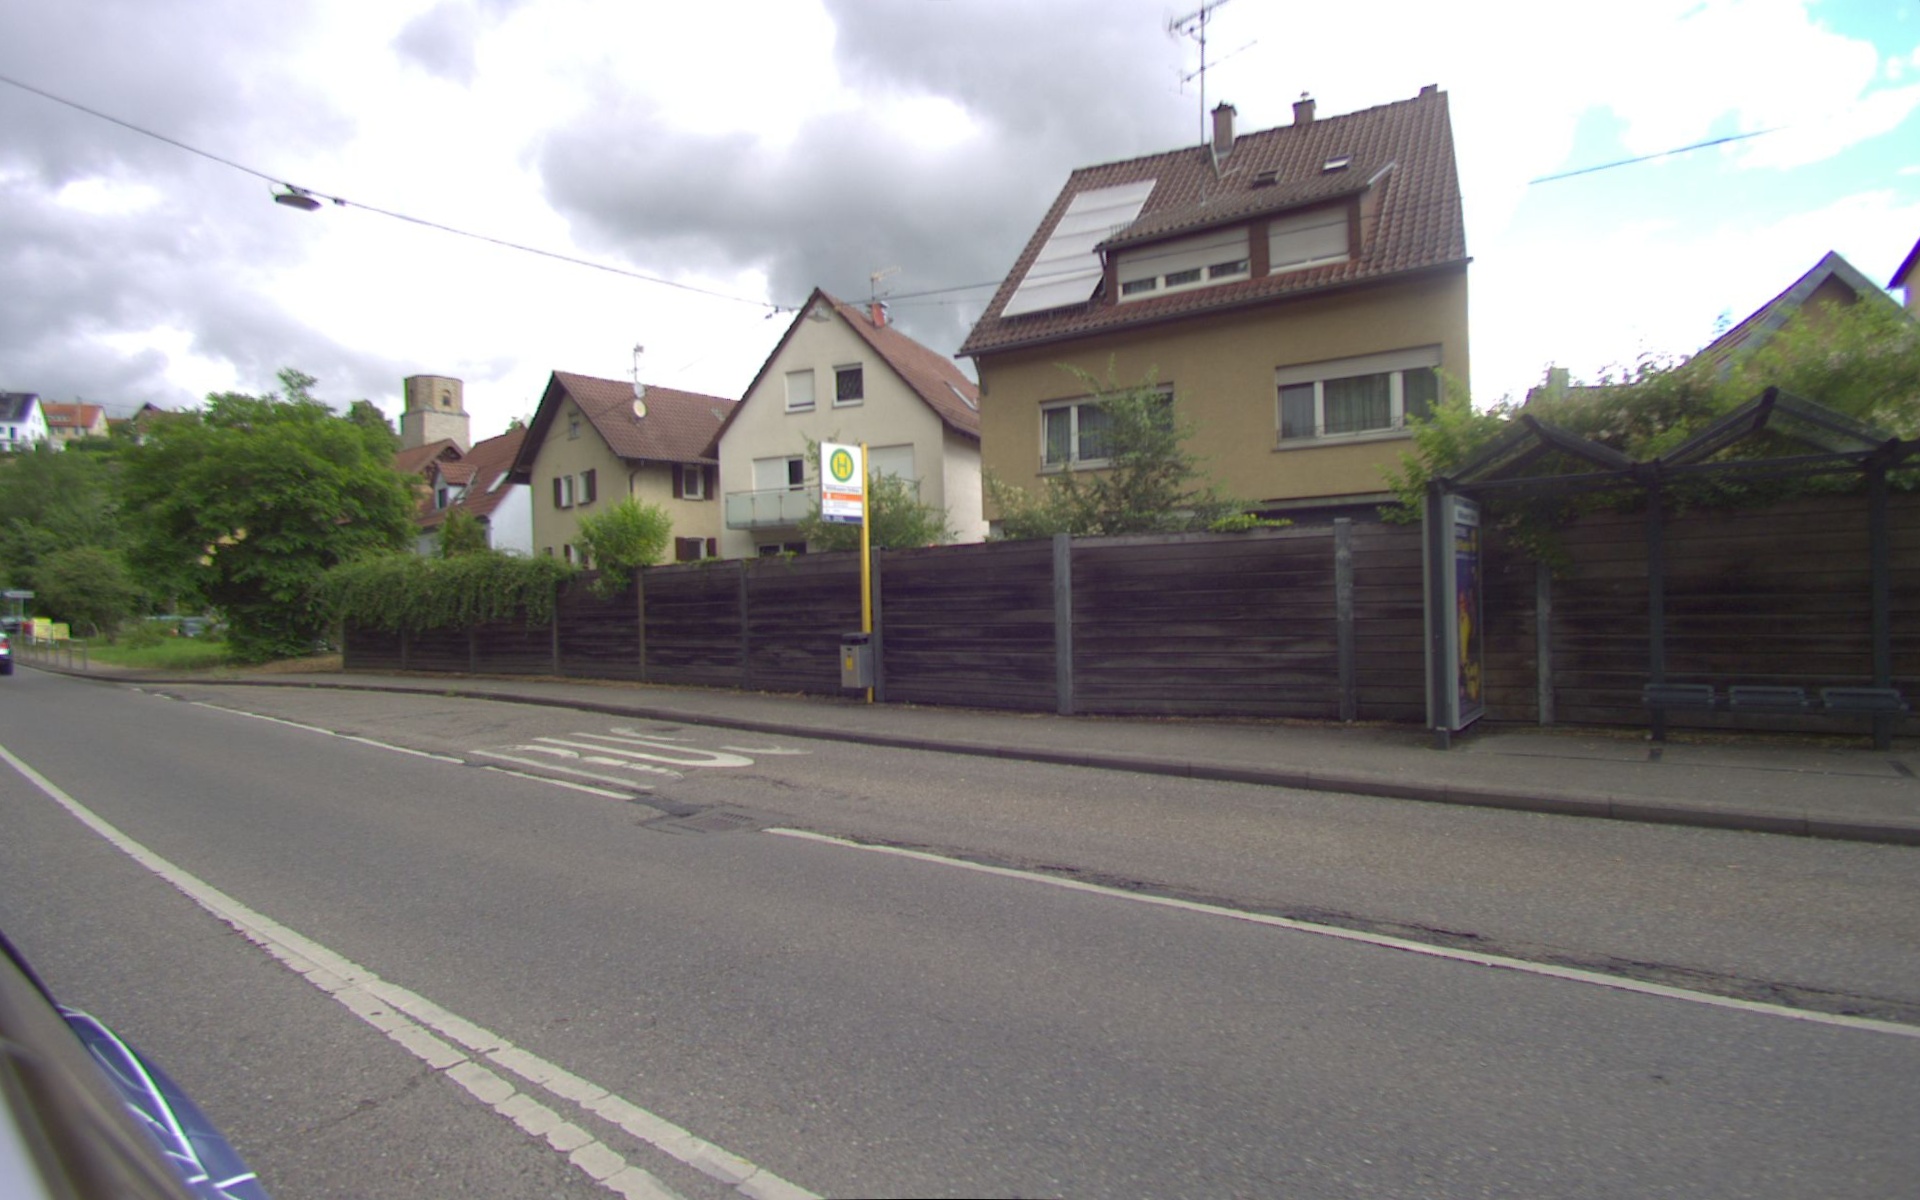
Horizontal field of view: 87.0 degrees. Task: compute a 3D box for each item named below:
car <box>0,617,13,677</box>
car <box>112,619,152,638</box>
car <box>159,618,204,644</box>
[{"bbox_3d":[-30.096,1.411,30.402,4.689,1.737,1.915,-2,-1,41],"label":"car"},{"bbox_3d":[-61.551,2.087,75.231,4.150,1.355,1.628,-2,-2,41],"label":"car"},{"bbox_3d":[-49.765,1.967,64.668,4.002,1.630,1.791,-1,-2,45],"label":"car"}]
